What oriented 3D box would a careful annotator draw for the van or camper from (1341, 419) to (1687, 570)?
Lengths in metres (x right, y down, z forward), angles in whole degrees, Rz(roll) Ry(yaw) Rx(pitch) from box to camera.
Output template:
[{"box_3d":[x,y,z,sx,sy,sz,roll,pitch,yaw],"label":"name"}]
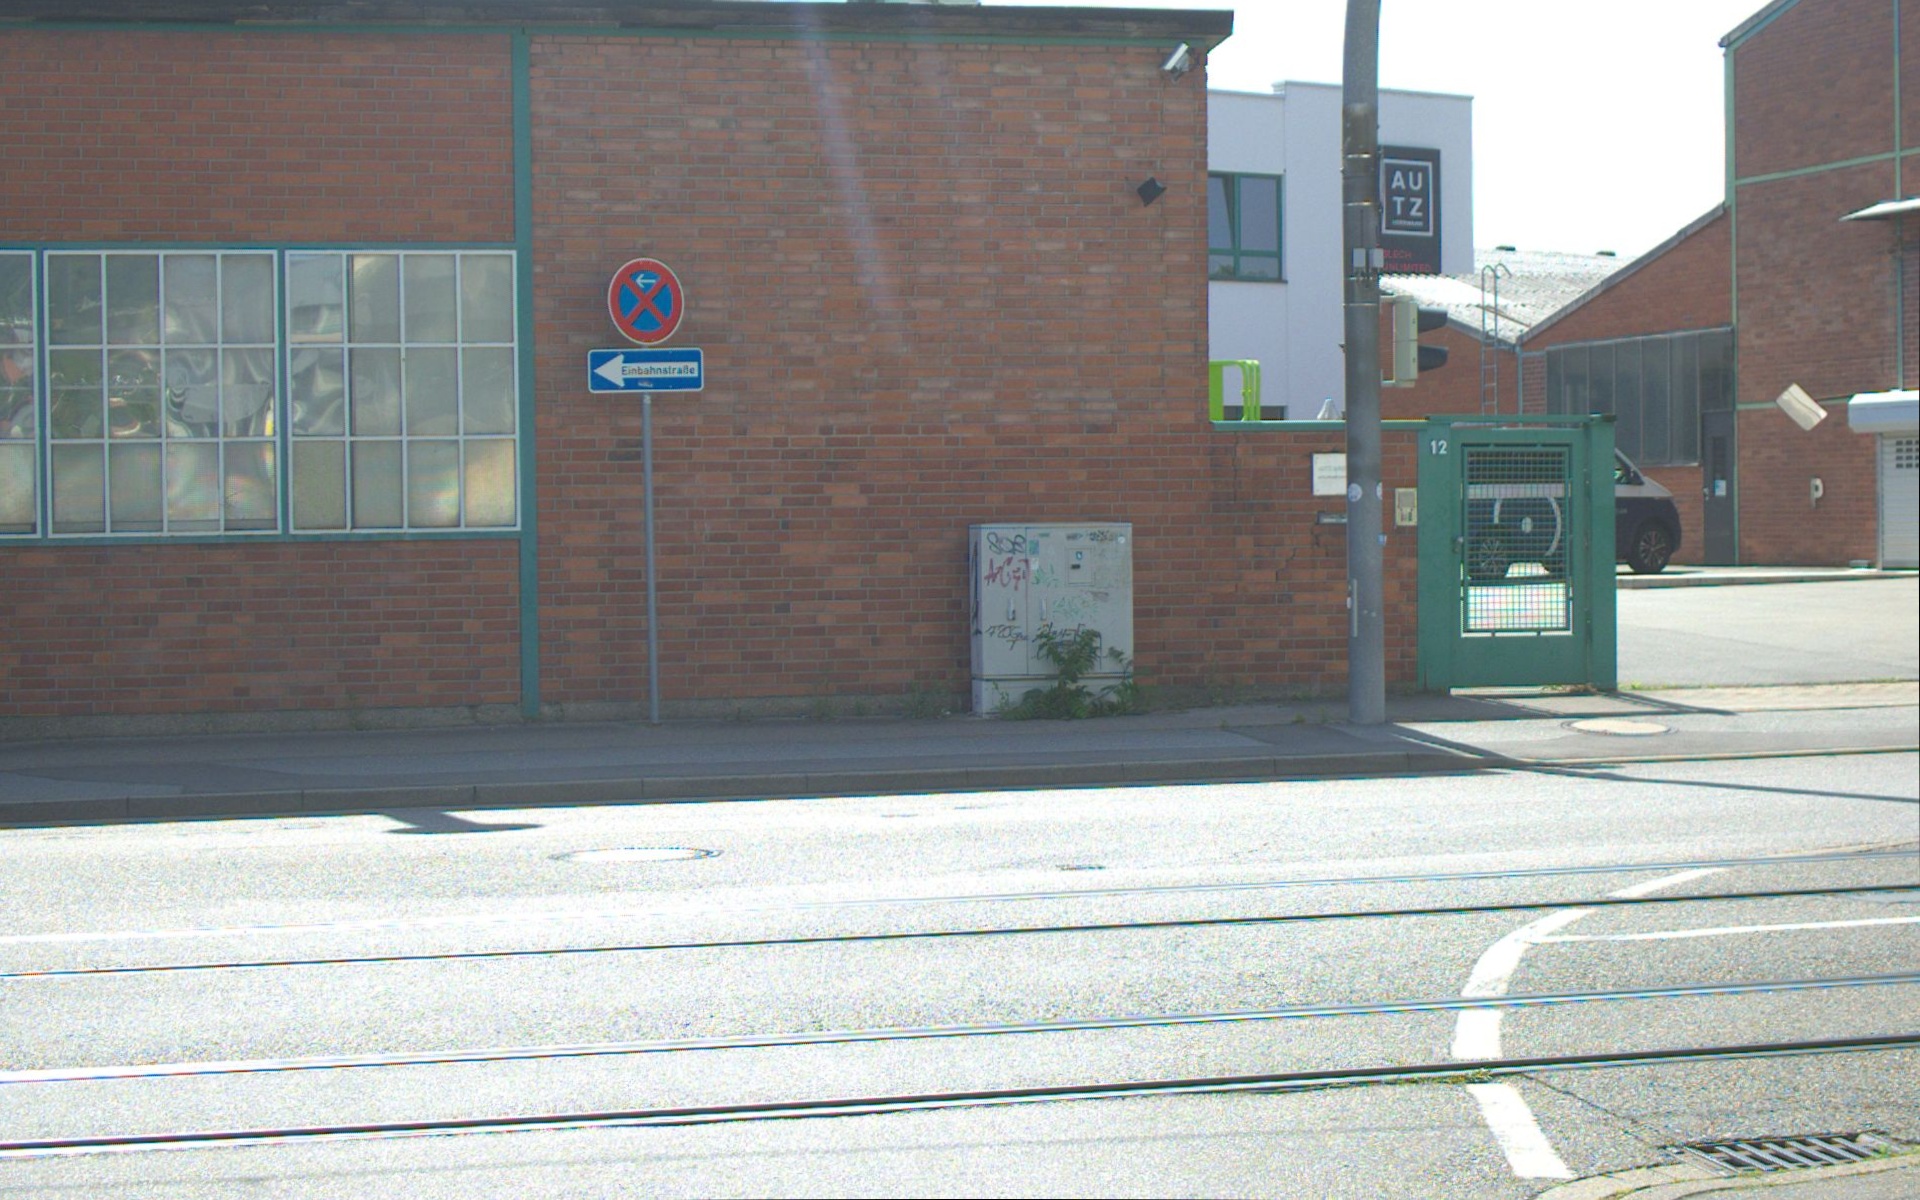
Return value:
[{"box_3d":[7.414,-1.379,45.861,4.408,1.894,2.000,0,1,-36],"label":"van or camper"}]
